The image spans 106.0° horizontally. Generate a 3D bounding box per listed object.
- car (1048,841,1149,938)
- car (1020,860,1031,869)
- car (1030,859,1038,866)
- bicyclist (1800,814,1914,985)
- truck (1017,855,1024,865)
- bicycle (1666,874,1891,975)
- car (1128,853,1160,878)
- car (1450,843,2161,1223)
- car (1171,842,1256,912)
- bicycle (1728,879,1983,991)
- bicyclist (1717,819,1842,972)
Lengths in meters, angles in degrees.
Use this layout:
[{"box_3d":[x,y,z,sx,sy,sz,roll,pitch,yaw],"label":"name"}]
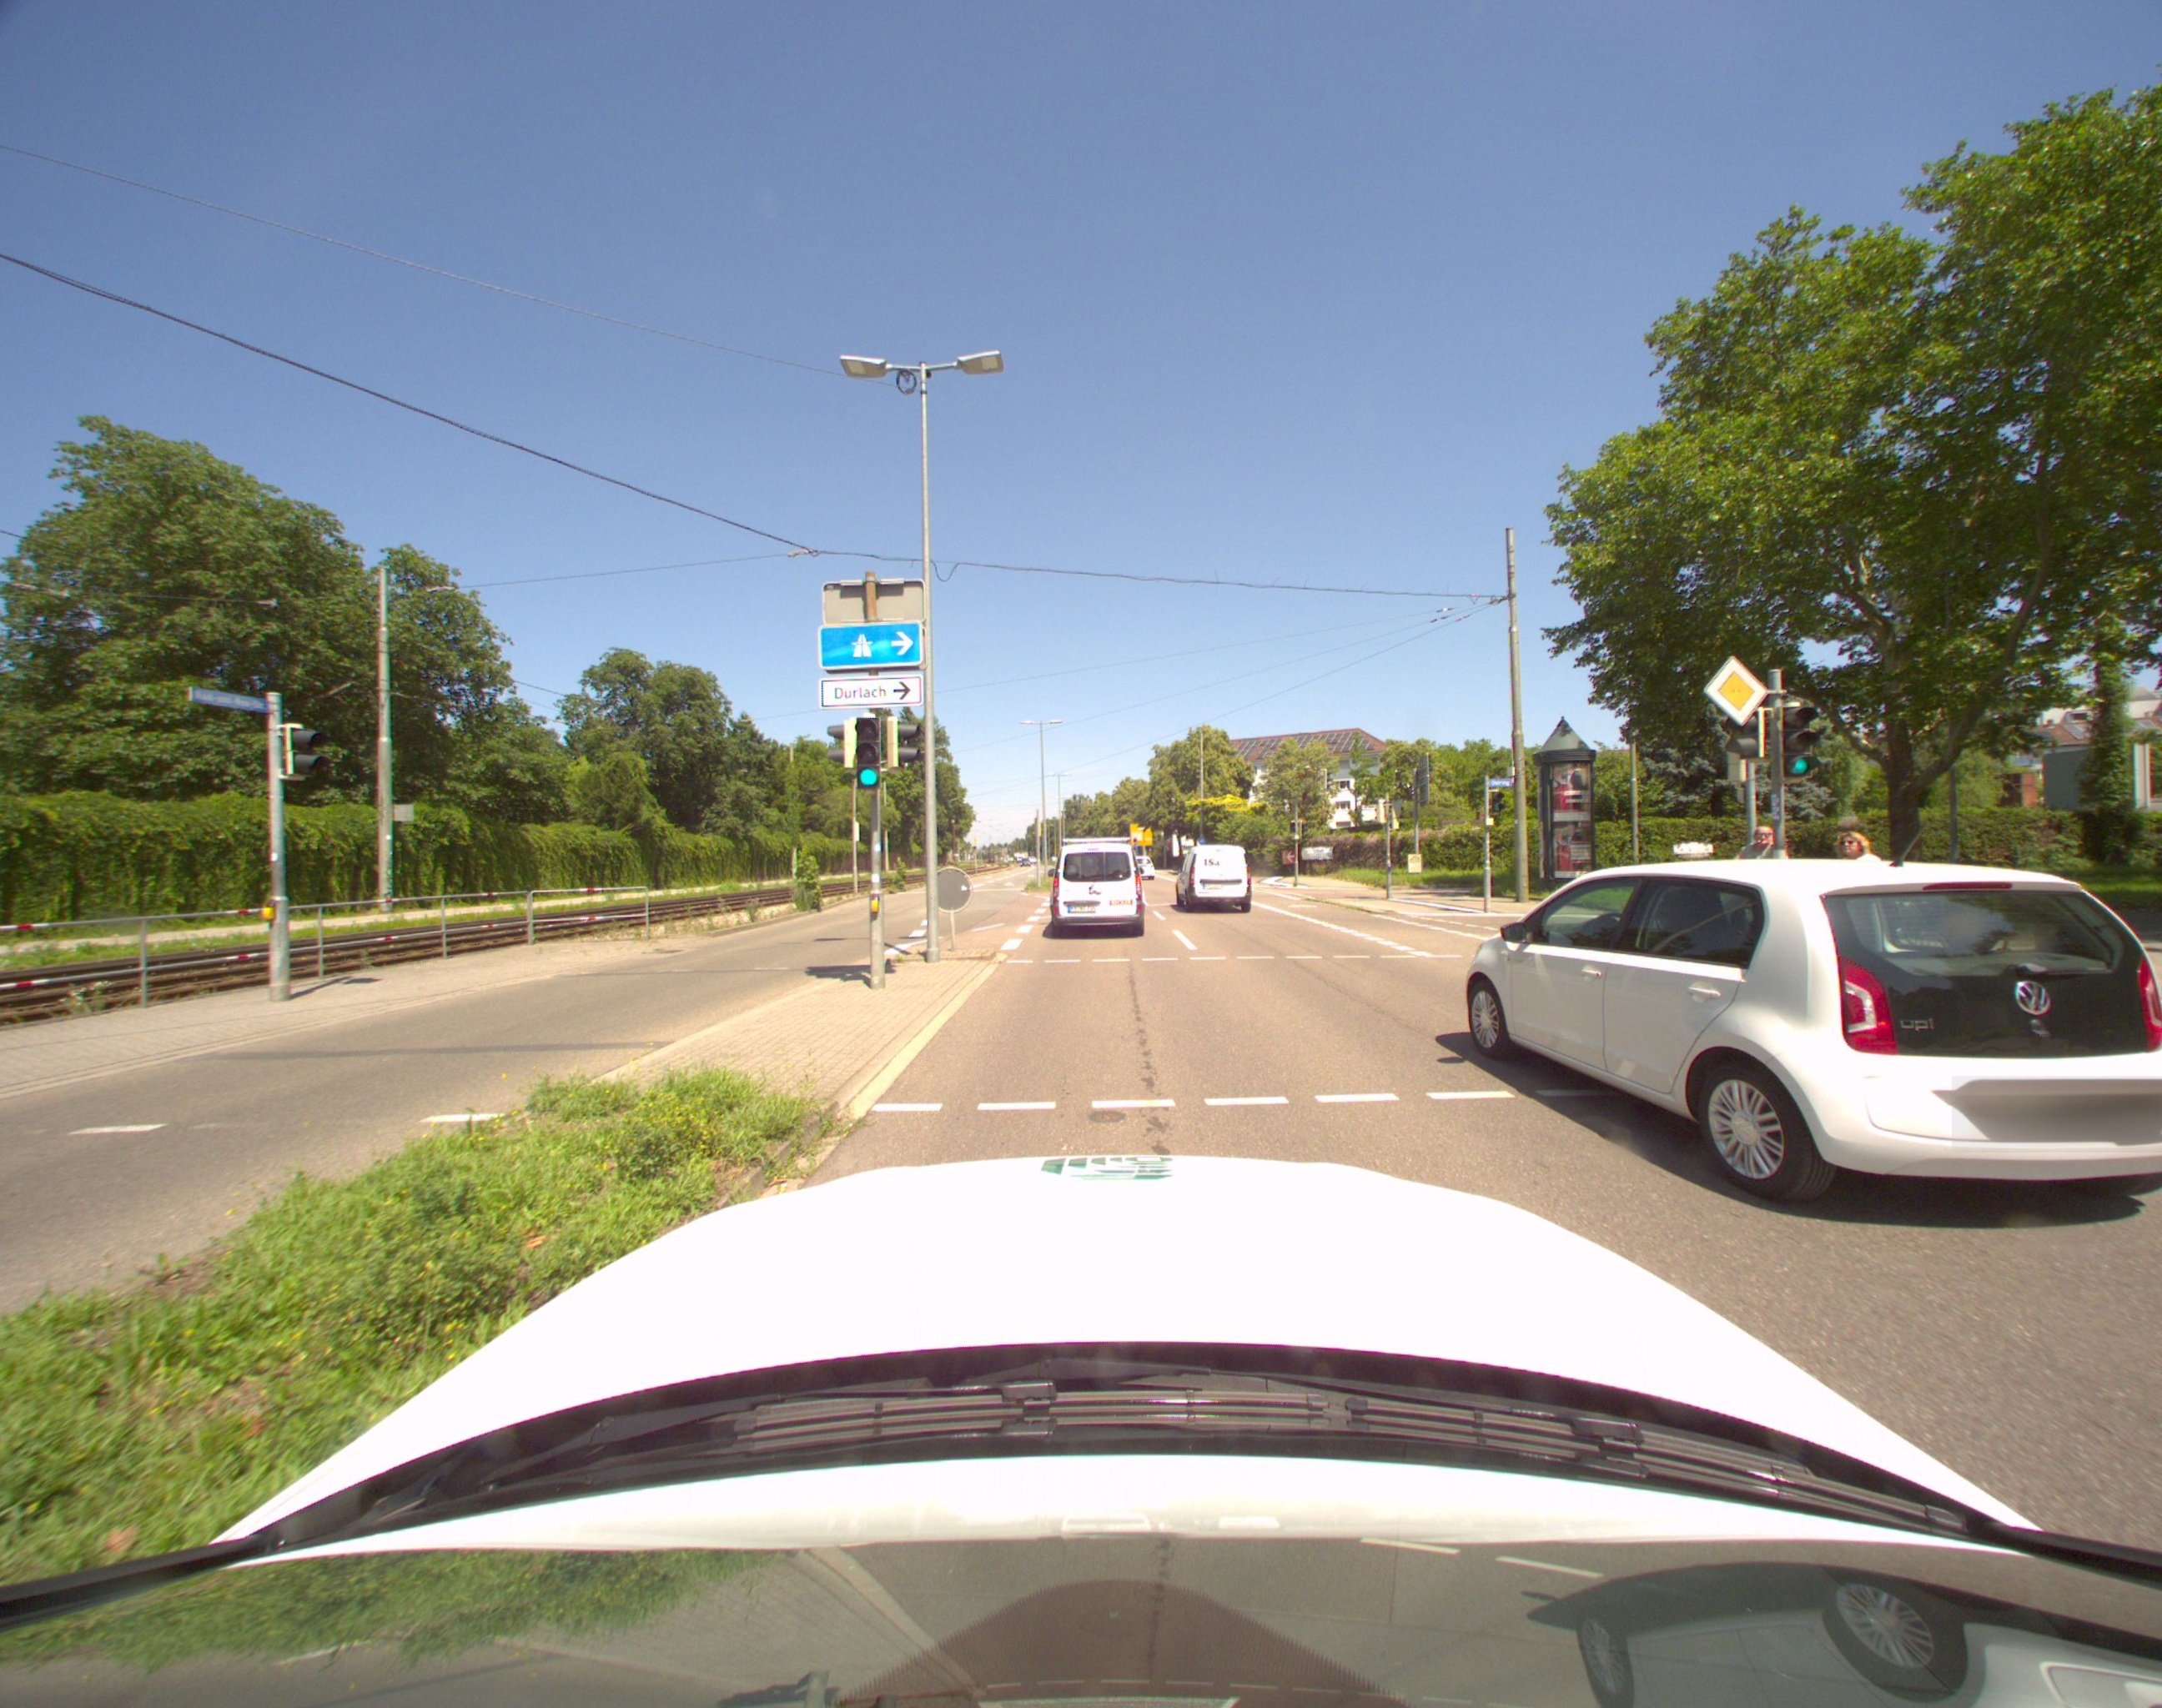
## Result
[{"box_3d":[0.353,0.633,16.854,1.815,1.739,4.396,0,0,1],"label":"car"},{"box_3d":[-9.856,1.851,145.106,1.692,1.512,4.064,-2,0,-1],"label":"car"},{"box_3d":[-12.390,2.163,215.292,1.987,1.816,3.999,-1,0,0],"label":"car"},{"box_3d":[8.509,0.476,8.956,0.573,1.788,0.769,1,0,9],"label":"bicyclist"},{"box_3d":[-19.246,1.799,258.776,1.991,3.213,5.299,-1,0,-6],"label":"truck"},{"box_3d":[8.539,0.849,10.056,1.940,1.159,0.896,-1,-1,5],"label":"bicycle"},{"box_3d":[4.090,0.709,53.220,1.828,1.568,4.001,0,0,1],"label":"car"},{"box_3d":[3.735,0.674,4.843,1.603,1.447,3.437,0,0,1],"label":"car"},{"box_3d":[3.608,0.591,22.872,1.722,1.788,4.063,0,0,0],"label":"car"},{"box_3d":[8.435,0.857,8.966,1.856,1.125,0.897,0,-1,8],"label":"bicycle"},{"box_3d":[8.569,0.492,10.036,0.720,1.788,0.978,-1,-1,6],"label":"bicyclist"}]
